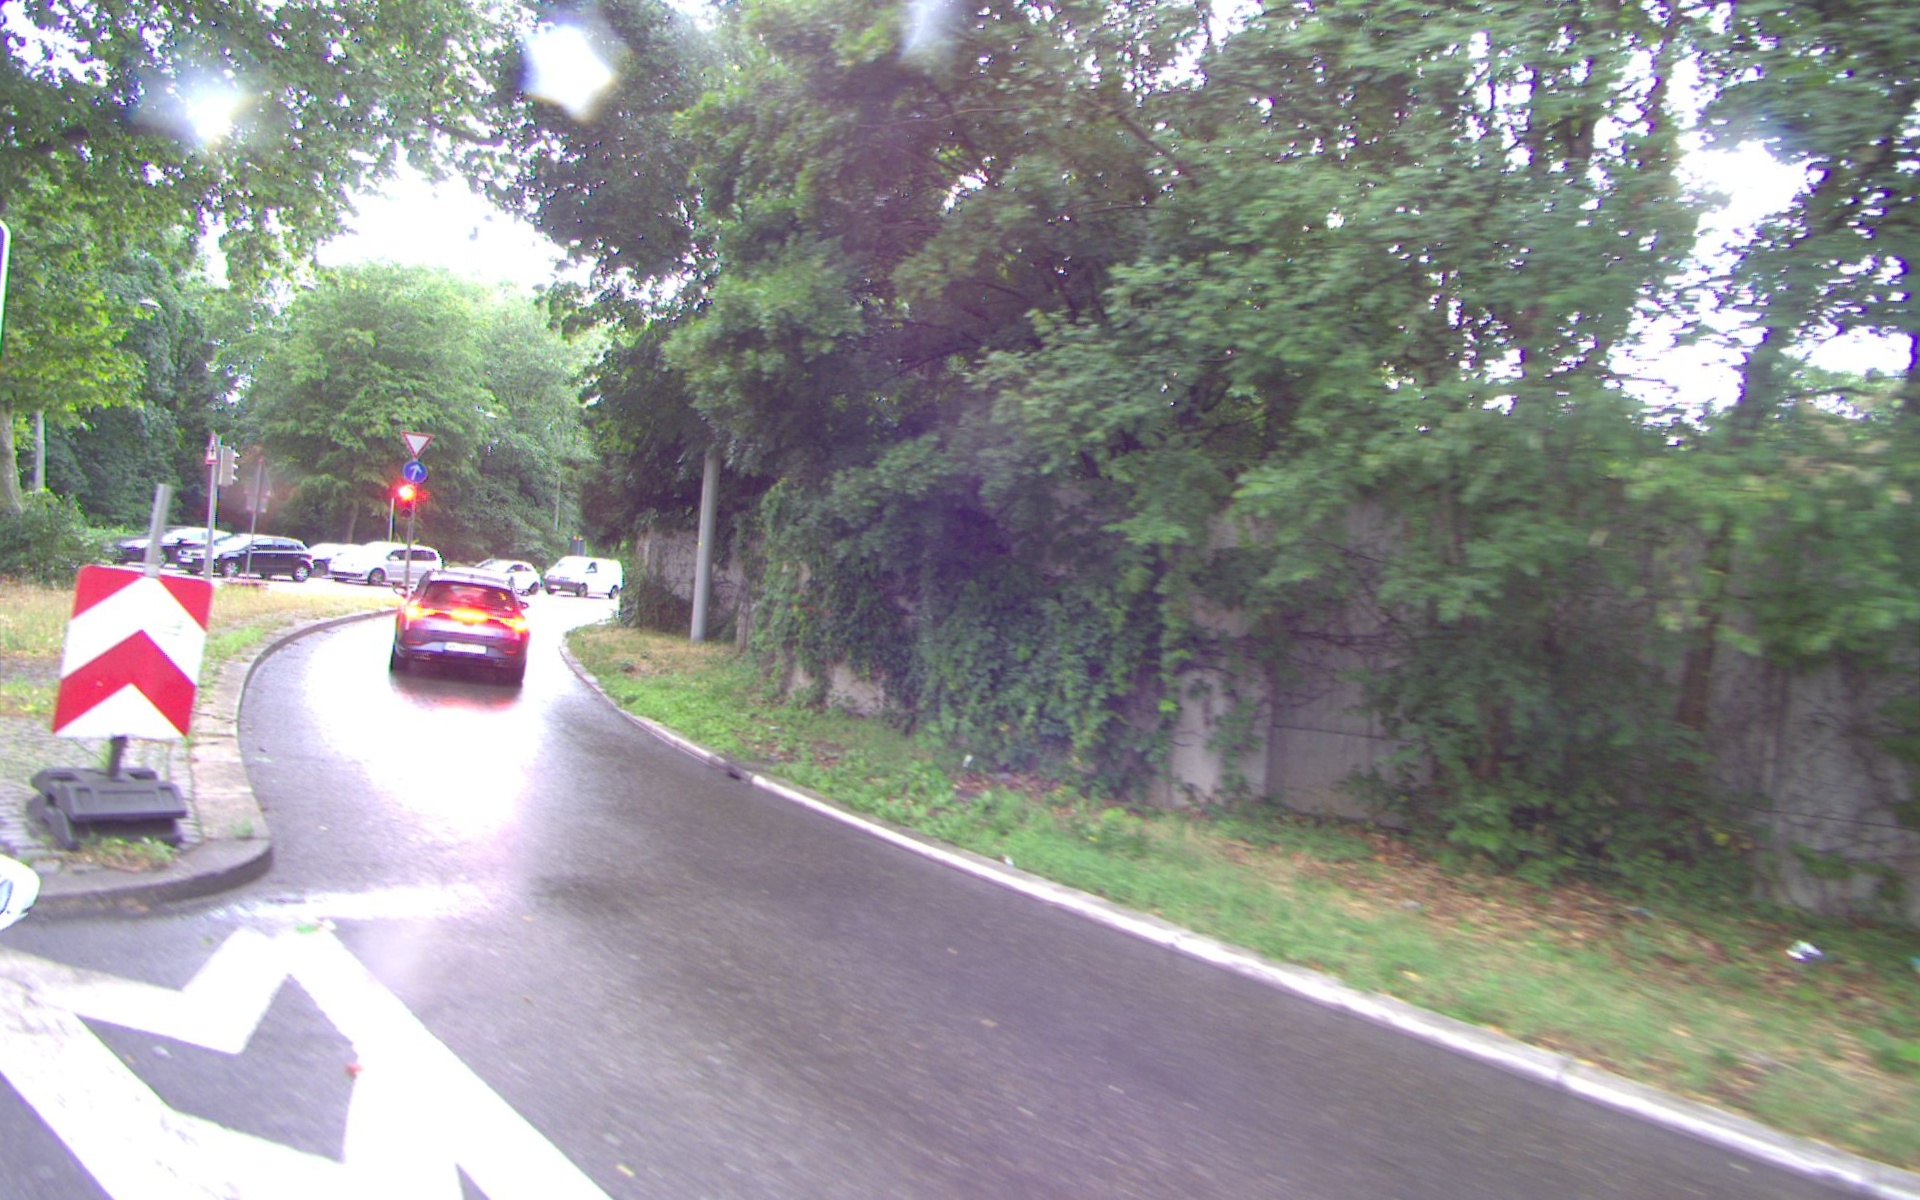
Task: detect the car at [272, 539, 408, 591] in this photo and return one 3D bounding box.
[{"bbox_3d":[-24.597,-1.366,40.114,1.795,1.418,4.452,6,-2,16],"label":"car"}]

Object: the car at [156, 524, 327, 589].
[{"bbox_3d":[-23.092,-1.351,32.562,1.759,1.477,4.205,6,-2,16],"label":"car"}]

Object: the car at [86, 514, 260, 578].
[{"bbox_3d":[-26.472,-1.773,34.039,1.913,1.457,4.218,6,-2,16],"label":"car"}]

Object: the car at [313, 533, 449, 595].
[{"bbox_3d":[-21.858,-1.317,38.170,1.871,1.699,4.216,6,-2,16],"label":"car"}]

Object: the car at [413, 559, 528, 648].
[{"bbox_3d":[-10.580,0.023,21.929,1.837,1.464,4.592,11,-3,-25],"label":"car"}]

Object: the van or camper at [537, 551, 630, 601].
[{"bbox_3d":[-18.858,-1.132,50.693,1.870,1.970,4.870,6,-1,13],"label":"van or camper"}]

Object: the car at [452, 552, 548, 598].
[{"bbox_3d":[-20.324,-1.067,44.636,1.627,1.478,3.869,6,-2,16],"label":"car"}]

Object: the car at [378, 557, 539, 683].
[{"bbox_3d":[-7.567,0.238,15.231,1.734,1.418,4.386,10,-3,-27],"label":"car"}]
